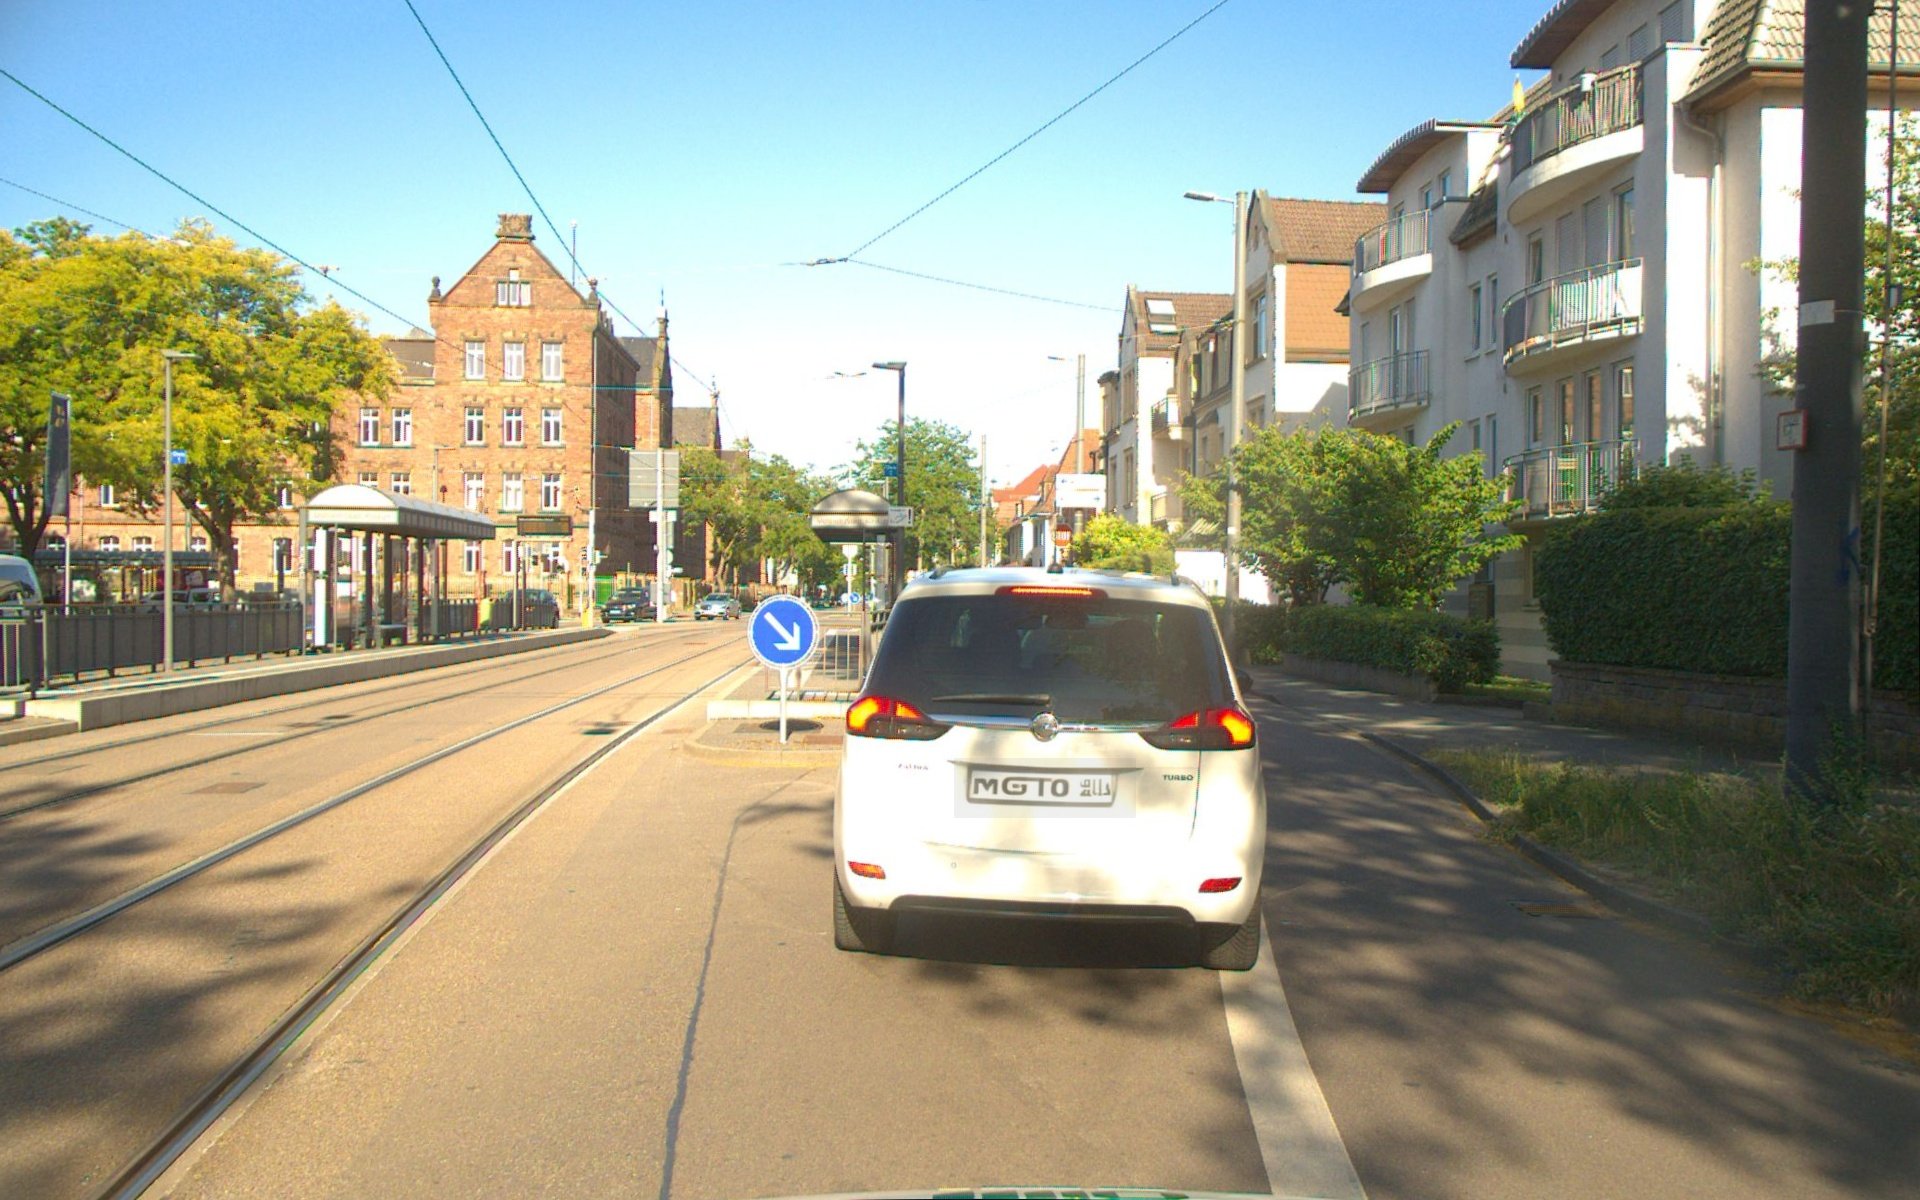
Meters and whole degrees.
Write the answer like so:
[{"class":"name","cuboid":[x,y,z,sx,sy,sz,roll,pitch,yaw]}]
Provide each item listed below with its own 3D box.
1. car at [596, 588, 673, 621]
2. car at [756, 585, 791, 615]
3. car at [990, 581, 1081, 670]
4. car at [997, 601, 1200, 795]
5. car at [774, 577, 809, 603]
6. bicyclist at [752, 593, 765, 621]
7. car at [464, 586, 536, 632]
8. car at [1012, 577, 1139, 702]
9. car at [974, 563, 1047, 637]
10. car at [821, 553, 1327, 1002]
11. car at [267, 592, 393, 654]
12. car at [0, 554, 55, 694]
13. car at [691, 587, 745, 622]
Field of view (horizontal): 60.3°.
[{"class":"car","cuboid":[-14.968,0.217,76.309,1.788,1.471,4.330,0,-1,14]},{"class":"car","cuboid":[-13.374,-0.004,118.664,1.952,2.049,4.000,1,0,0]},{"class":"car","cuboid":[1.490,0.484,33.918,1.563,1.663,3.900,2,0,-1]},{"class":"car","cuboid":[1.231,0.763,14.795,1.536,1.426,3.786,2,0,5]},{"class":"car","cuboid":[-13.527,-0.786,132.961,1.951,2.049,4.002,1,0,6]},{"class":"bicyclist","cuboid":[-12.453,0.410,102.132,0.711,1.717,1.169,1,1,-2]},{"class":"car","cuboid":[-17.160,0.341,61.821,1.791,1.645,4.323,1,-1,-5]},{"class":"car","cuboid":[1.632,0.522,24.422,1.537,1.643,3.784,2,0,0]},{"class":"car","cuboid":[1.189,-0.037,40.394,1.563,1.663,3.901,2,1,-1]},{"class":"car","cuboid":[0.574,0.634,8.088,1.838,1.613,4.002,1,0,5]},{"class":"car","cuboid":[-15.367,0.515,40.554,1.763,1.406,4.489,0,1,-6]},{"class":"car","cuboid":[-13.350,0.325,21.267,1.794,1.819,4.243,-1,1,-11]},{"class":"car","cuboid":[-12.969,0.271,88.911,1.788,1.819,4.330,1,-1,7]}]
